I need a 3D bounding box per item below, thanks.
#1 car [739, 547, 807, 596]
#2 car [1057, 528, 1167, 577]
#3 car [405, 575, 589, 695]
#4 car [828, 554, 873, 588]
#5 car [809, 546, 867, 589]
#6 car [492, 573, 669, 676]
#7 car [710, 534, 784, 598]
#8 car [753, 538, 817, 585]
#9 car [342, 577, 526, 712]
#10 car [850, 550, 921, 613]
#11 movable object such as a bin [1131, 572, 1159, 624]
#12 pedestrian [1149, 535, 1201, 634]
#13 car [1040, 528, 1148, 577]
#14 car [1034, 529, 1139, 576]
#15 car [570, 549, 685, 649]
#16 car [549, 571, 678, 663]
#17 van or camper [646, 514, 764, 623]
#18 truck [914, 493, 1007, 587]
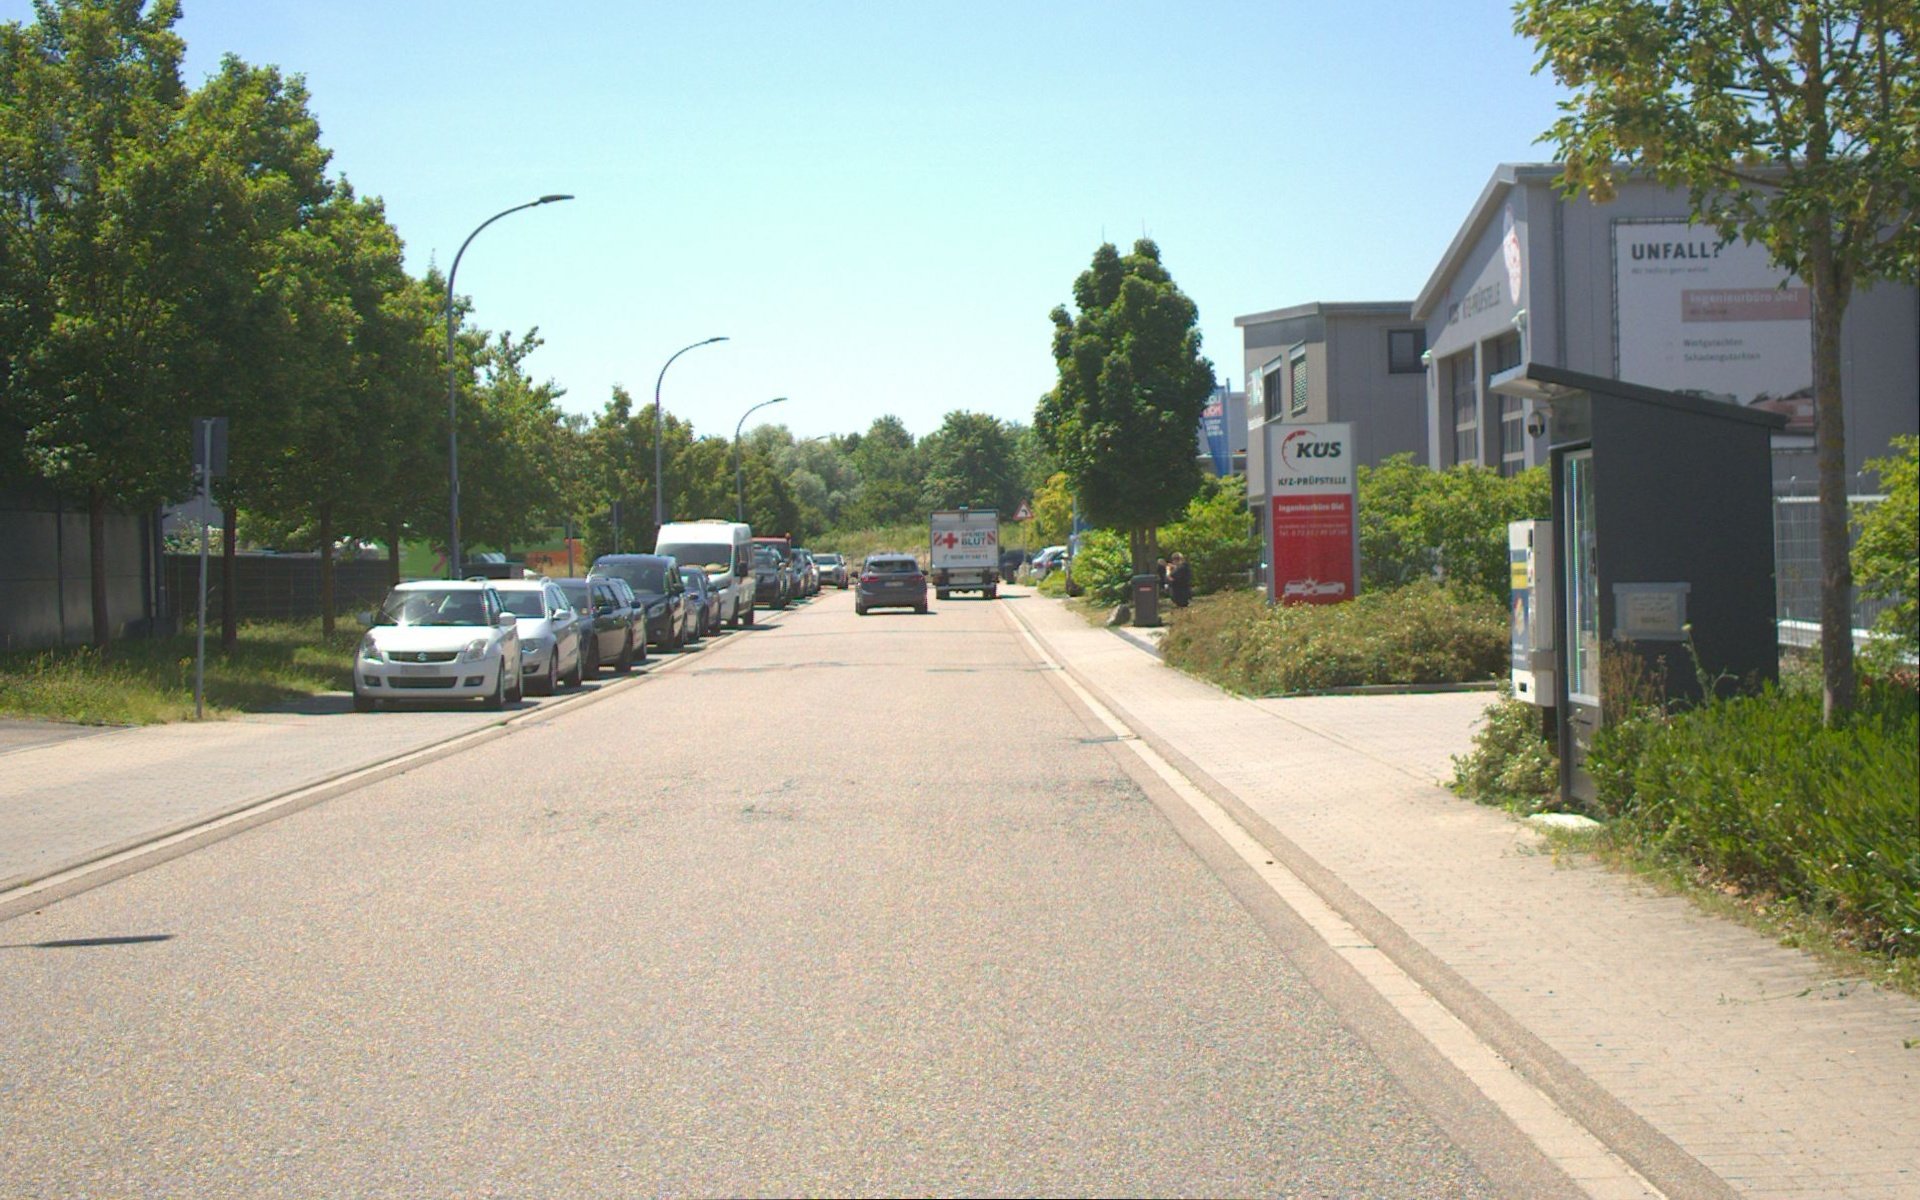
[{"bbox_3d":[-5.936,-0.920,109.535,1.799,1.482,4.252,-1,1,2],"label":"car"},{"bbox_3d":[5.557,-1.739,126.107,3.875,1.744,1.752,1,1,-2],"label":"car"},{"bbox_3d":[-6.114,0.428,45.833,1.799,1.471,4.555,-1,1,0],"label":"car"},{"bbox_3d":[-5.066,-1.339,159.467,1.799,1.482,4.252,-1,1,2],"label":"car"},{"bbox_3d":[-4.406,-1.191,124.555,1.799,1.482,4.252,-1,1,2],"label":"car"},{"bbox_3d":[-5.779,0.339,52.809,1.799,1.471,4.636,-1,1,5],"label":"car"},{"bbox_3d":[-6.302,-1.025,102.008,1.799,1.842,4.252,-1,1,2],"label":"car"},{"bbox_3d":[-5.836,-1.304,114.770,1.799,1.482,4.252,-1,1,2],"label":"car"},{"bbox_3d":[-6.156,0.490,40.572,1.720,1.471,3.858,-1,1,-2],"label":"car"},{"bbox_3d":[-1.946,-0.497,91.025,1.789,1.618,3.809,1,1,0],"label":"car"},{"bbox_3d":[3.747,-0.044,69.701,0.531,1.049,0.845,-2,0,2],"label":"movable object such as a bin"},{"bbox_3d":[3.593,-0.257,57.495,0.499,1.608,0.714,-5,1,-17],"label":"pedestrian"},{"bbox_3d":[4.990,-1.771,128.063,3.875,1.744,1.752,1,1,-2],"label":"car"},{"bbox_3d":[4.812,-1.808,130.972,3.875,1.744,1.752,1,1,-2],"label":"car"},{"bbox_3d":[-6.214,-0.047,64.641,1.799,1.808,4.252,-1,1,-1],"label":"car"},{"bbox_3d":[-5.898,0.262,58.991,1.799,1.471,4.589,-1,1,-1],"label":"car"},{"bbox_3d":[-6.007,-0.756,81.694,2.079,2.474,6.130,1,1,2],"label":"van or camper"},{"bbox_3d":[0.031,-1.956,113.125,2.933,2.963,6.419,1,1,0],"label":"truck"}]
